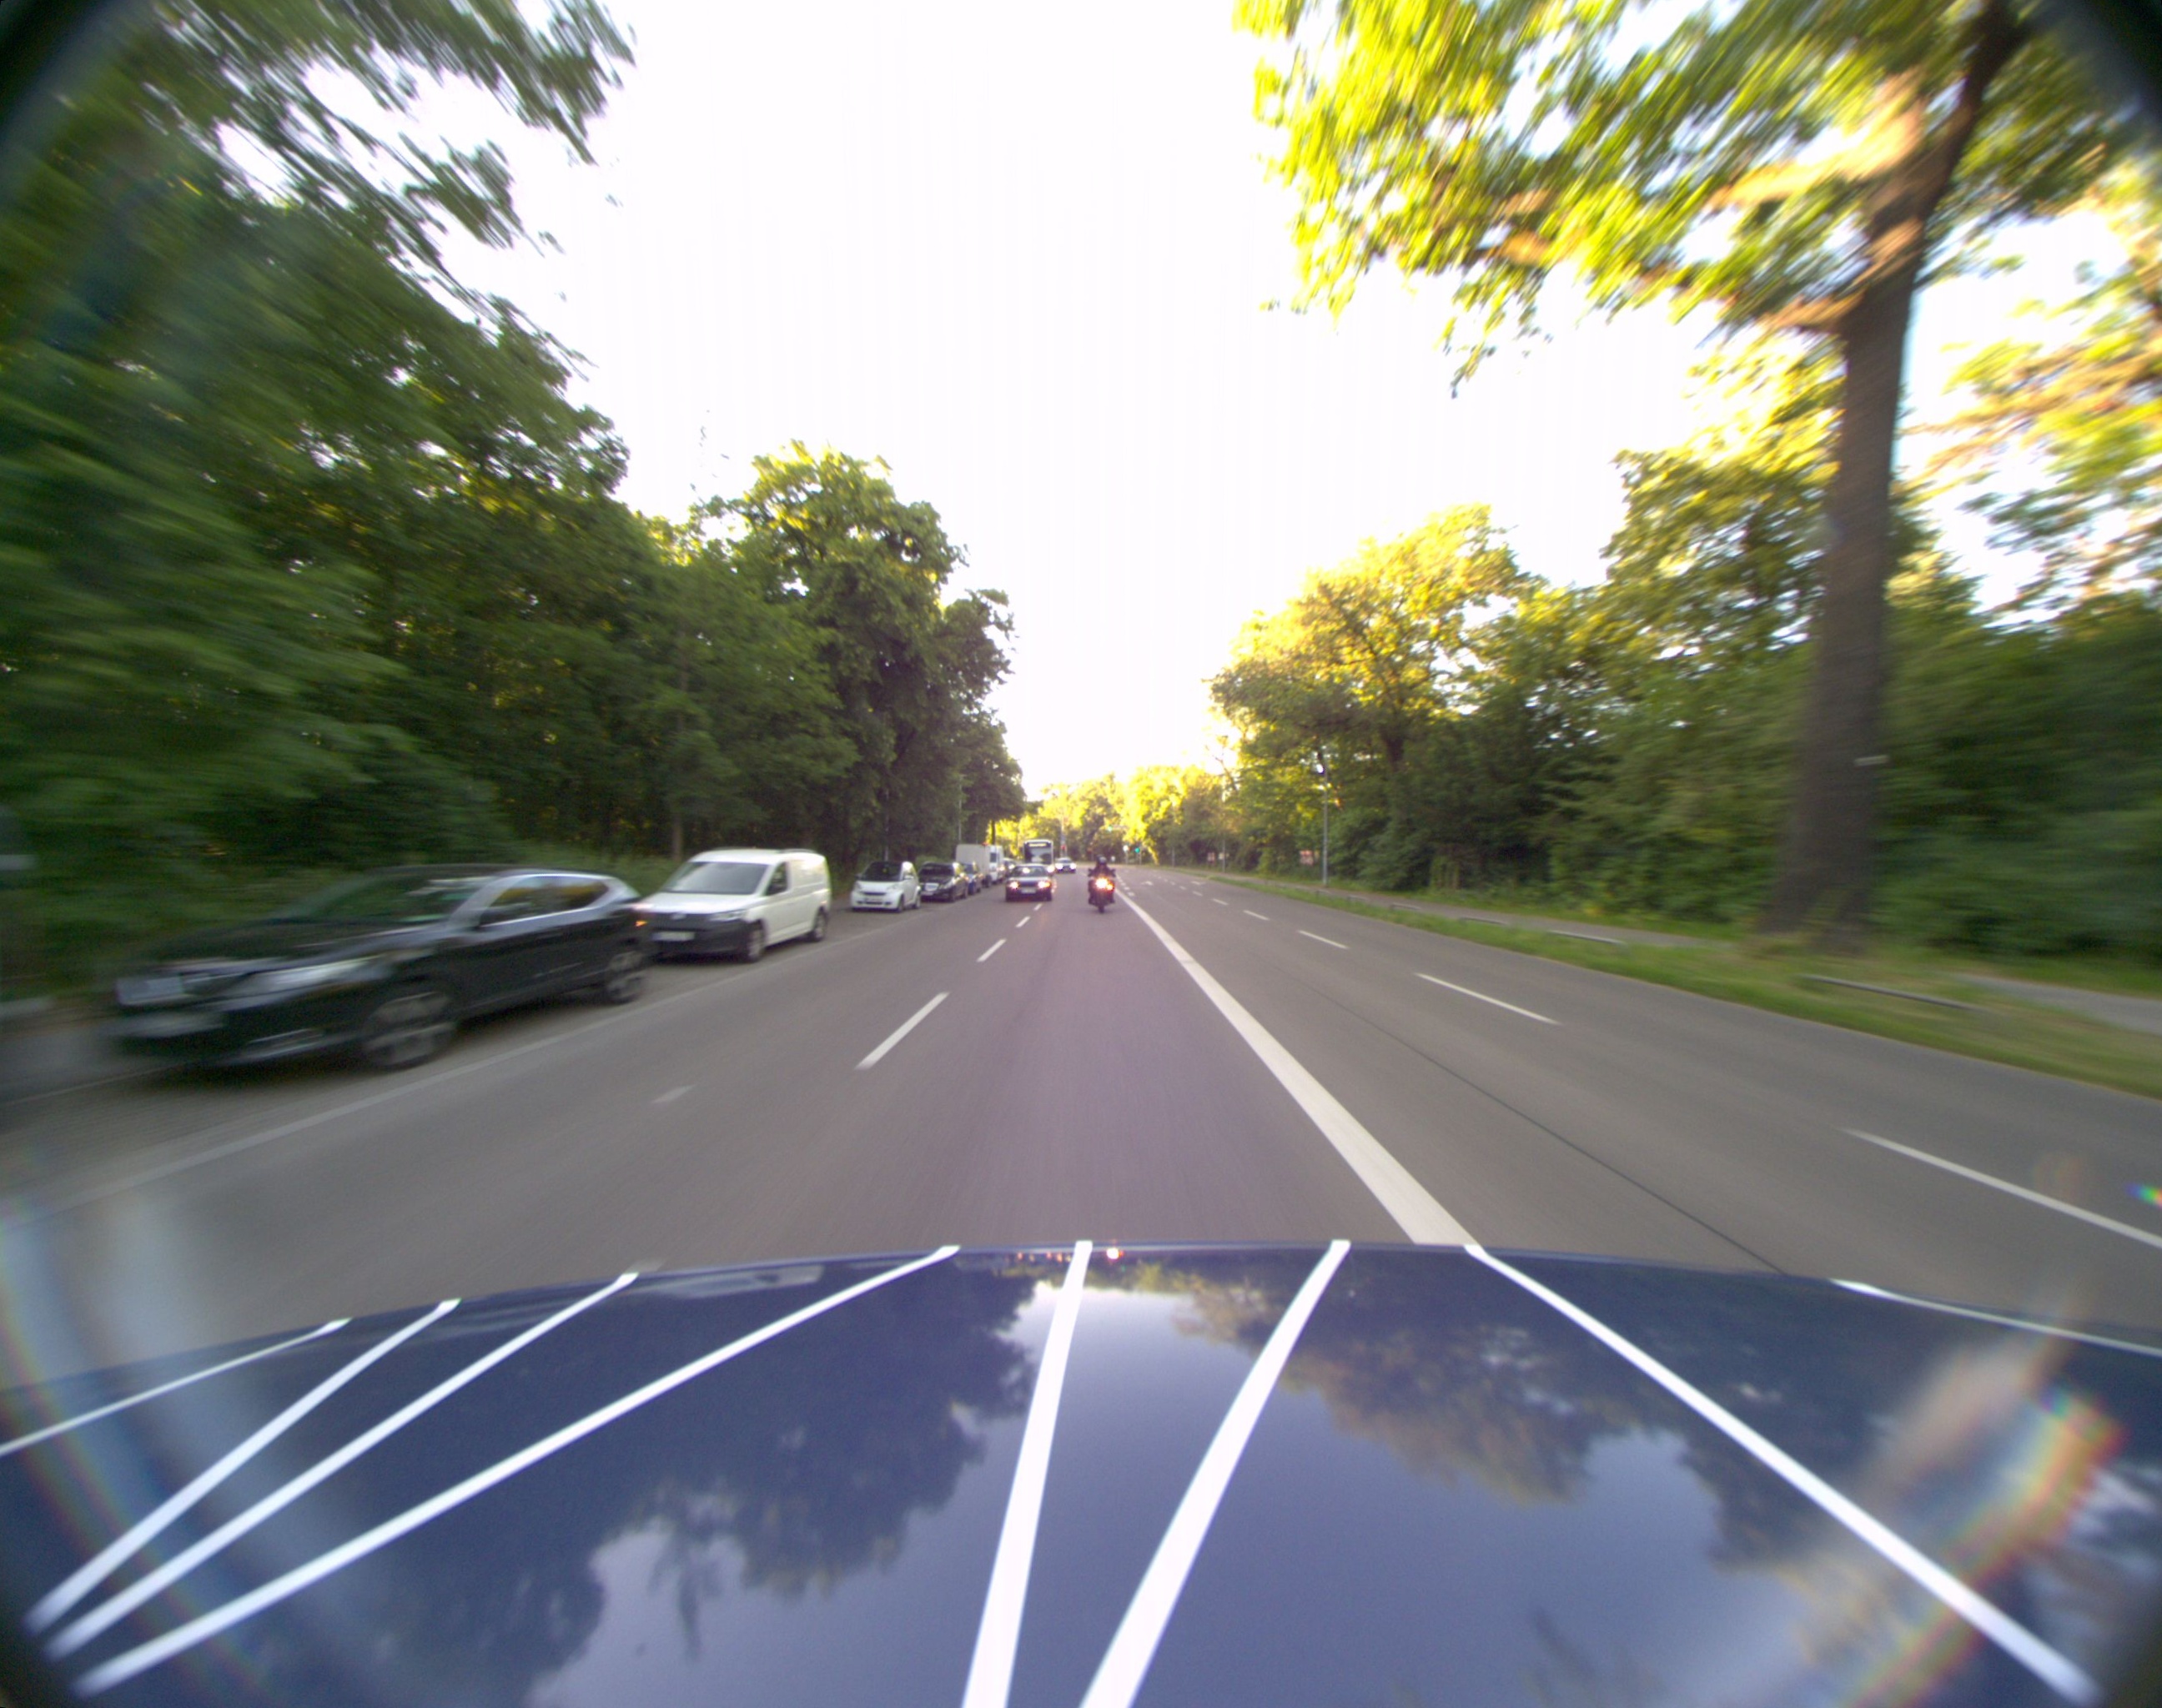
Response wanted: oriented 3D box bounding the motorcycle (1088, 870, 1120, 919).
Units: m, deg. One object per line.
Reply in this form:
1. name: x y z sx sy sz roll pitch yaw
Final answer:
1. motorcycle: 0.622 1.095 21.396 0.830 1.212 2.603 -1 0 1

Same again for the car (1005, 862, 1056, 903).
1. car: -1.893 1.057 29.547 1.679 1.351 3.994 -1 1 0

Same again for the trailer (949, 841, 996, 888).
1. trailer: -5.923 0.526 42.059 1.909 2.409 5.125 1 1 -1

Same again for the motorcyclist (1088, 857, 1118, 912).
1. motorcyclist: 0.614 0.837 21.392 0.830 1.484 1.024 -1 1 1

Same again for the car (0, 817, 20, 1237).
1. car: -6.047 0.820 0.885 1.873 1.969 5.474 1 1 1

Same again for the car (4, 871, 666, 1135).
1. car: -6.020 1.006 7.109 1.763 1.538 4.428 1 1 1

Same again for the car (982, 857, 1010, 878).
1. car: -6.125 0.963 55.035 1.682 1.392 4.649 1 1 -2

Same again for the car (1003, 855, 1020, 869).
1. car: -7.569 0.897 82.545 1.723 1.403 4.484 1 1 -6

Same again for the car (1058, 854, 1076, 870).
1. car: -1.391 0.796 75.954 1.679 1.552 3.993 -1 1 -1

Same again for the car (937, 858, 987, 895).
1. car: -5.535 1.006 35.885 1.682 1.526 4.352 1 1 0

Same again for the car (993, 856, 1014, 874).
1. car: -6.742 0.939 66.448 1.682 1.455 3.687 1 1 -3

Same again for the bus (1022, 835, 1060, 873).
1. bus: -3.381 0.006 67.739 2.812 3.030 12.884 -1 0 -1

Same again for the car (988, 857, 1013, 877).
1. car: -6.336 0.976 60.428 1.682 1.455 4.065 1 1 -2

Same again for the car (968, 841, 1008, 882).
1. car: -5.914 0.428 48.842 1.909 2.409 5.574 1 1 -1

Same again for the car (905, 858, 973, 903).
1. car: -5.470 0.983 29.919 1.763 1.526 4.988 1 1 0

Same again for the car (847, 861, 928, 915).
1. car: -5.948 0.997 23.705 1.589 1.487 3.180 1 1 2

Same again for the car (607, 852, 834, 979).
1. car: -5.995 0.891 13.380 1.763 1.794 4.736 1 1 0
